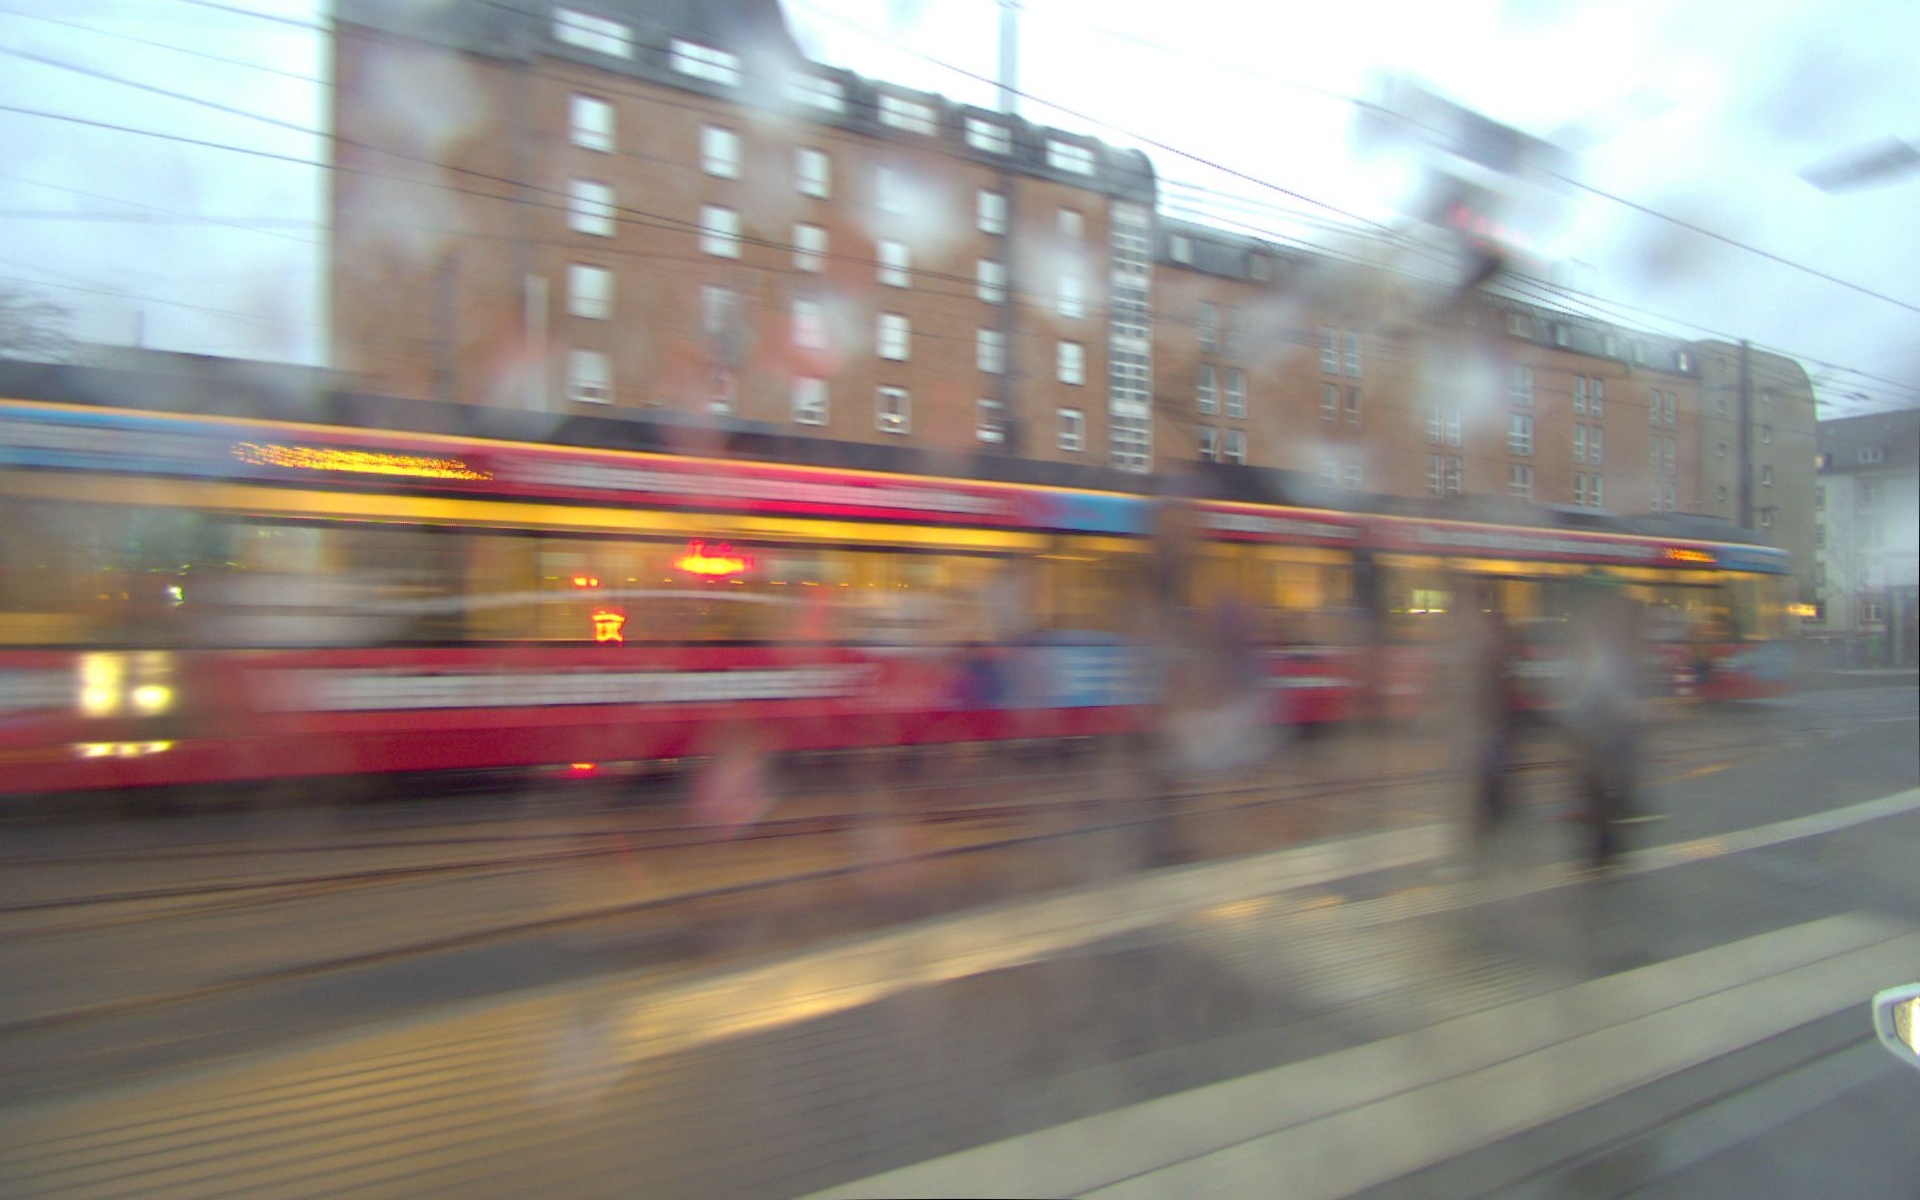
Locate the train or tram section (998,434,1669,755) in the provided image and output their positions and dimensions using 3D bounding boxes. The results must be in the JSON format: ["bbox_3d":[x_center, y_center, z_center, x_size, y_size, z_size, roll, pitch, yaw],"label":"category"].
[{"bbox_3d":[6.046,0.034,15.178,10.893,3.626,2.914,1,0,-27],"label":"train or tram section"}]

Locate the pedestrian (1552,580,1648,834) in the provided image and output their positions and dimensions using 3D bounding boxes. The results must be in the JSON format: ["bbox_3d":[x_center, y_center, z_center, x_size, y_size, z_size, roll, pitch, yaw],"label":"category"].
[{"bbox_3d":[4.625,0.748,7.266,0.468,1.758,0.431,1,-1,-32],"label":"pedestrian"}]

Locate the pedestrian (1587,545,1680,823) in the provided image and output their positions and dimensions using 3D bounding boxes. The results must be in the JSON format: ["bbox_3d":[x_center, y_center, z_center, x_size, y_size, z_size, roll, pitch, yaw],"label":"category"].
[{"bbox_3d":[5.043,0.610,7.525,0.468,1.993,0.431,1,-1,-32],"label":"pedestrian"}]

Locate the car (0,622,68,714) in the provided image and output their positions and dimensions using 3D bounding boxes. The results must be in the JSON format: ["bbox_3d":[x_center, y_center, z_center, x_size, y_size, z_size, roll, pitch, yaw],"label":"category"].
[{"bbox_3d":[-18.621,1.167,17.367,4.386,1.576,1.823,1,-1,-26],"label":"car"}]

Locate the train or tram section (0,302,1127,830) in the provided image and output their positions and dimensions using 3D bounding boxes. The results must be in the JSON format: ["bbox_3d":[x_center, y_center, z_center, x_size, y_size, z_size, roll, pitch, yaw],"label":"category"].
[{"bbox_3d":[-4.175,-0.172,9.837,12.097,3.637,2.939,1,0,-27],"label":"train or tram section"}]

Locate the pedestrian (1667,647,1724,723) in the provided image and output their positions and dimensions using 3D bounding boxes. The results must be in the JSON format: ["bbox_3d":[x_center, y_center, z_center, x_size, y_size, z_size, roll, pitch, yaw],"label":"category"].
[{"bbox_3d":[11.898,1.364,16.251,0.483,1.168,0.578,1,0,-26],"label":"pedestrian"}]

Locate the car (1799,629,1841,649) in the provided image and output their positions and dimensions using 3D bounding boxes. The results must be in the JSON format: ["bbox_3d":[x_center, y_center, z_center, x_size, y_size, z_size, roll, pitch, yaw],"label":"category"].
[{"bbox_3d":[63.021,2.845,73.619,4.108,1.449,1.588,1,-2,-39],"label":"car"}]

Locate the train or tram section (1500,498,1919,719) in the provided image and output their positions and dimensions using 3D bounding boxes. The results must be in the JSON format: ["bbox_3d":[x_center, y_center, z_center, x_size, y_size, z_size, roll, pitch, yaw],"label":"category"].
[{"bbox_3d":[15.740,0.235,20.222,10.893,3.615,2.889,1,0,-27],"label":"train or tram section"}]

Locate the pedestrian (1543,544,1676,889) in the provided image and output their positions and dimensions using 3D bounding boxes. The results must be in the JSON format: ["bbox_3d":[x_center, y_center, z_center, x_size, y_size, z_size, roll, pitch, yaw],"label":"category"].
[{"bbox_3d":[3.760,0.640,5.813,0.662,1.870,0.409,1,-1,-32],"label":"pedestrian"}]

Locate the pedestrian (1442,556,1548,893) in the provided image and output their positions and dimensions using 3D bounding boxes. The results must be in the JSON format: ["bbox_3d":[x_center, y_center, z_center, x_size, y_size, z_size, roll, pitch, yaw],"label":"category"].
[{"bbox_3d":[3.013,0.673,5.659,0.435,1.810,0.357,1,-1,-32],"label":"pedestrian"}]
